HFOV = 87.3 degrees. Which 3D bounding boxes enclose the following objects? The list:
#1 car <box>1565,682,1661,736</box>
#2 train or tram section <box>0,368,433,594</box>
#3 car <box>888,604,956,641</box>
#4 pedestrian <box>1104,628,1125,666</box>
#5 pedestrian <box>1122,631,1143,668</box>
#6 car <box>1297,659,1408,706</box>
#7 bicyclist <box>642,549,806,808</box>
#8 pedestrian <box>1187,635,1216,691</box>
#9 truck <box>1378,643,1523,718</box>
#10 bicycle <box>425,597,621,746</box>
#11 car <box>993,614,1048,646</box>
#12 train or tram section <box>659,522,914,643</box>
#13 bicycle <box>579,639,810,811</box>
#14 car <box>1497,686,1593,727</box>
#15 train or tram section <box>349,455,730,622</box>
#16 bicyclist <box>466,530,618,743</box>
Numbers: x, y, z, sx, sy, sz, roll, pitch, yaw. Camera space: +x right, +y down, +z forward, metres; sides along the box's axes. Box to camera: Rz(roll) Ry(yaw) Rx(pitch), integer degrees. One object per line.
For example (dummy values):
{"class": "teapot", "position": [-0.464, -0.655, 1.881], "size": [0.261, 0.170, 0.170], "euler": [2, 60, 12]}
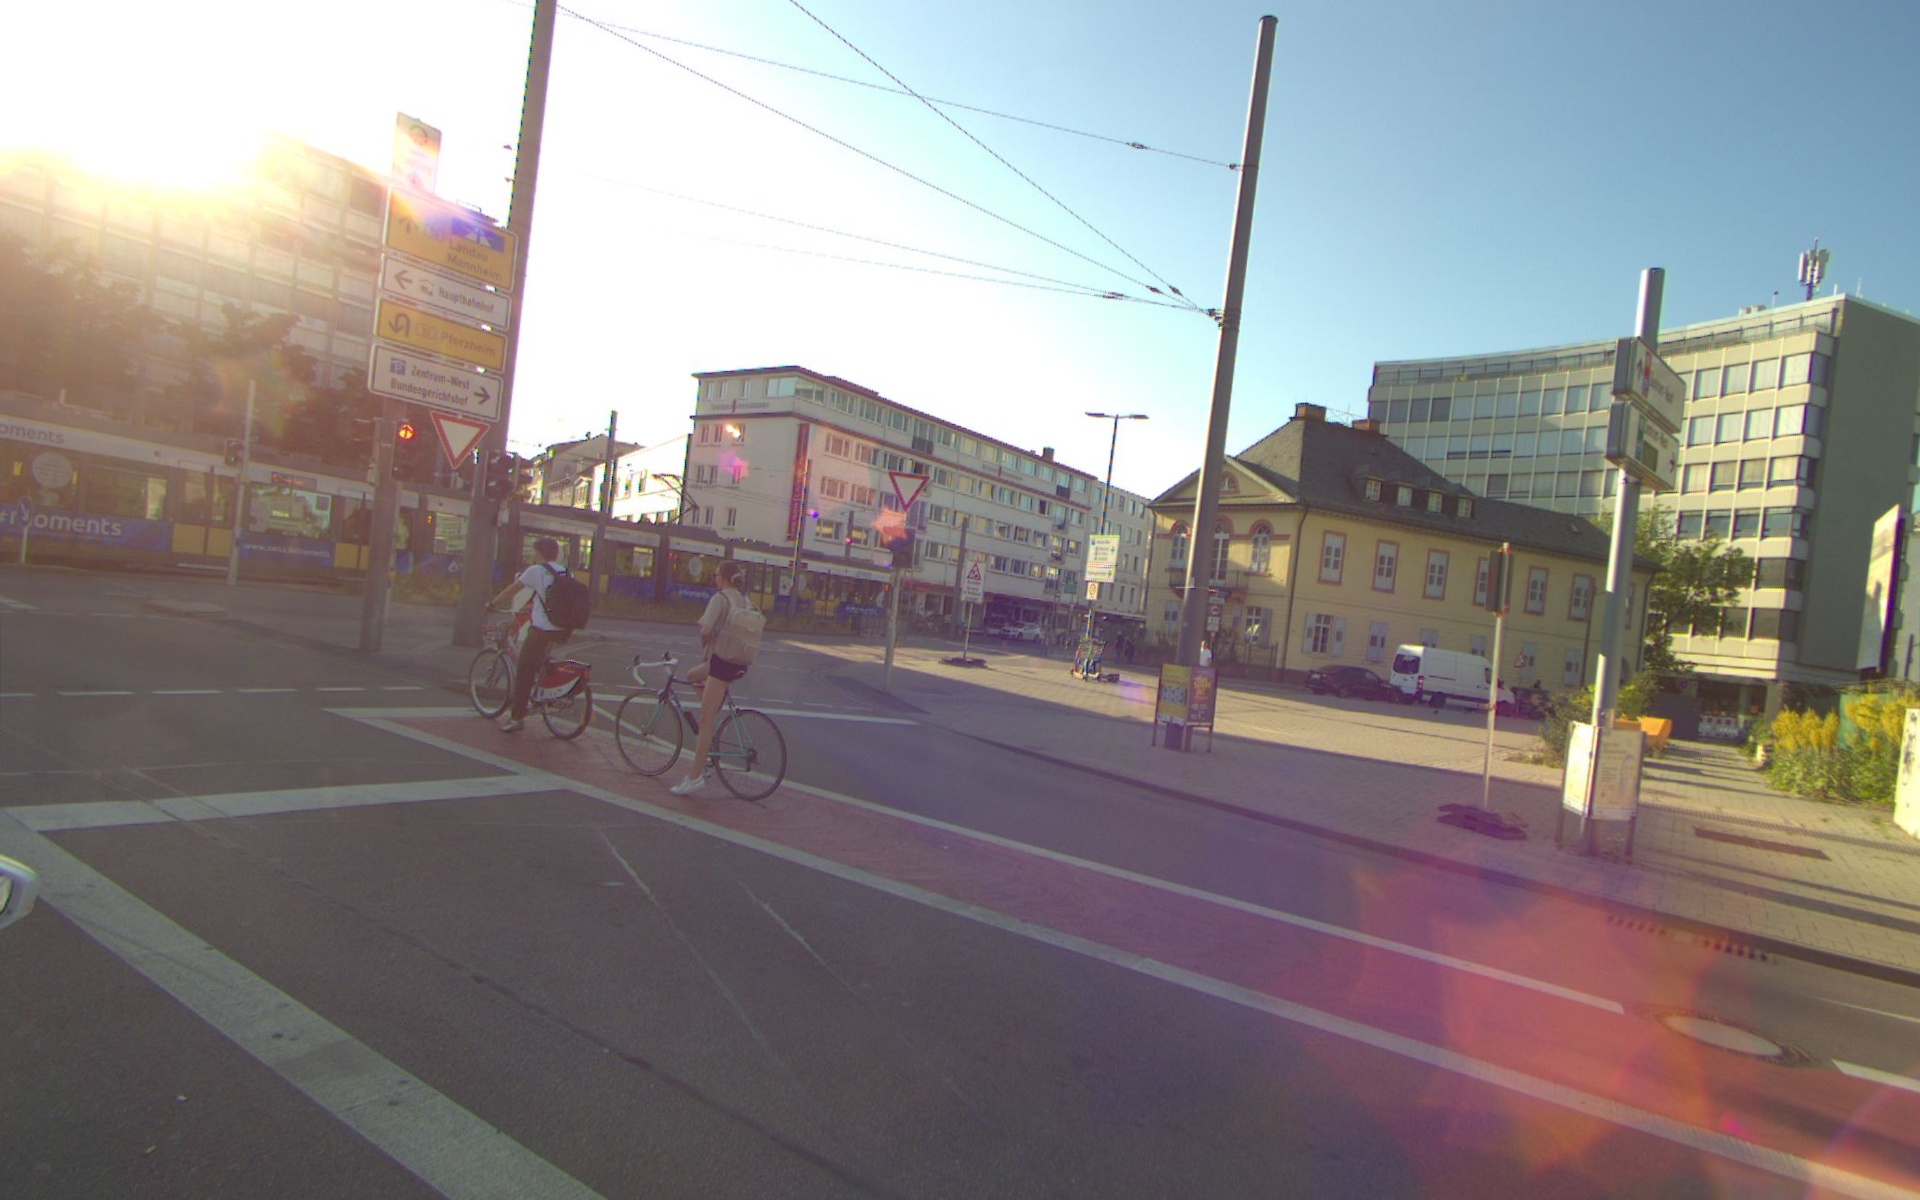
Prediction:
{"class": "car", "position": [31.151, 5.203, 47.984], "size": [3.706, 2.003, 1.709], "euler": [8, -2, -17]}
{"class": "train or tram section", "position": [-19.662, -2.621, 24.445], "size": [3.645, 3.880, 13.367], "euler": [6, -1, 16]}
{"class": "car", "position": [-2.658, 1.622, 71.647], "size": [1.970, 2.036, 4.858], "euler": [6, -2, 38]}
{"class": "pedestrian", "position": [7.356, 2.240, 47.887], "size": [0.802, 1.661, 0.687], "euler": [7, -1, 11]}
{"class": "pedestrian", "position": [8.246, 2.359, 47.994], "size": [0.802, 1.661, 0.687], "euler": [7, -1, 10]}
{"class": "car", "position": [16.621, 3.482, 42.600], "size": [4.133, 1.380, 1.709], "euler": [8, -2, -17]}
{"class": "bicyclist", "position": [-1.749, 0.565, 7.491], "size": [0.778, 1.766, 0.615], "euler": [7, -1, 27]}
{"class": "pedestrian", "position": [8.215, 2.143, 34.205], "size": [0.746, 1.783, 1.009], "euler": [7, -1, 16]}
{"class": "truck", "position": [21.832, 3.575, 44.814], "size": [5.556, 2.578, 2.294], "euler": [8, -2, -17]}
{"class": "bicycle", "position": [-4.039, 0.634, 9.257], "size": [1.777, 1.113, 0.543], "euler": [6, -1, 27]}
{"class": "car", "position": [5.039, 2.504, 83.397], "size": [1.970, 2.036, 4.858], "euler": [6, -2, 38]}
{"class": "train or tram section", "position": [-7.644, -0.567, 47.490], "size": [3.656, 3.877, 12.956], "euler": [6, -2, 34]}
{"class": "bicycle", "position": [-2.036, 0.913, 7.650], "size": [1.664, 1.013, 0.543], "euler": [6, -1, 27]}
{"class": "car", "position": [27.093, 4.925, 46.596], "size": [3.706, 1.380, 1.709], "euler": [8, -2, -17]}
{"class": "train or tram section", "position": [-14.411, -1.855, 36.609], "size": [3.653, 3.877, 12.968], "euler": [6, -2, 30]}
{"class": "bicyclist", "position": [-3.817, 0.320, 9.183], "size": [1.042, 1.789, 0.543], "euler": [7, -1, 27]}
